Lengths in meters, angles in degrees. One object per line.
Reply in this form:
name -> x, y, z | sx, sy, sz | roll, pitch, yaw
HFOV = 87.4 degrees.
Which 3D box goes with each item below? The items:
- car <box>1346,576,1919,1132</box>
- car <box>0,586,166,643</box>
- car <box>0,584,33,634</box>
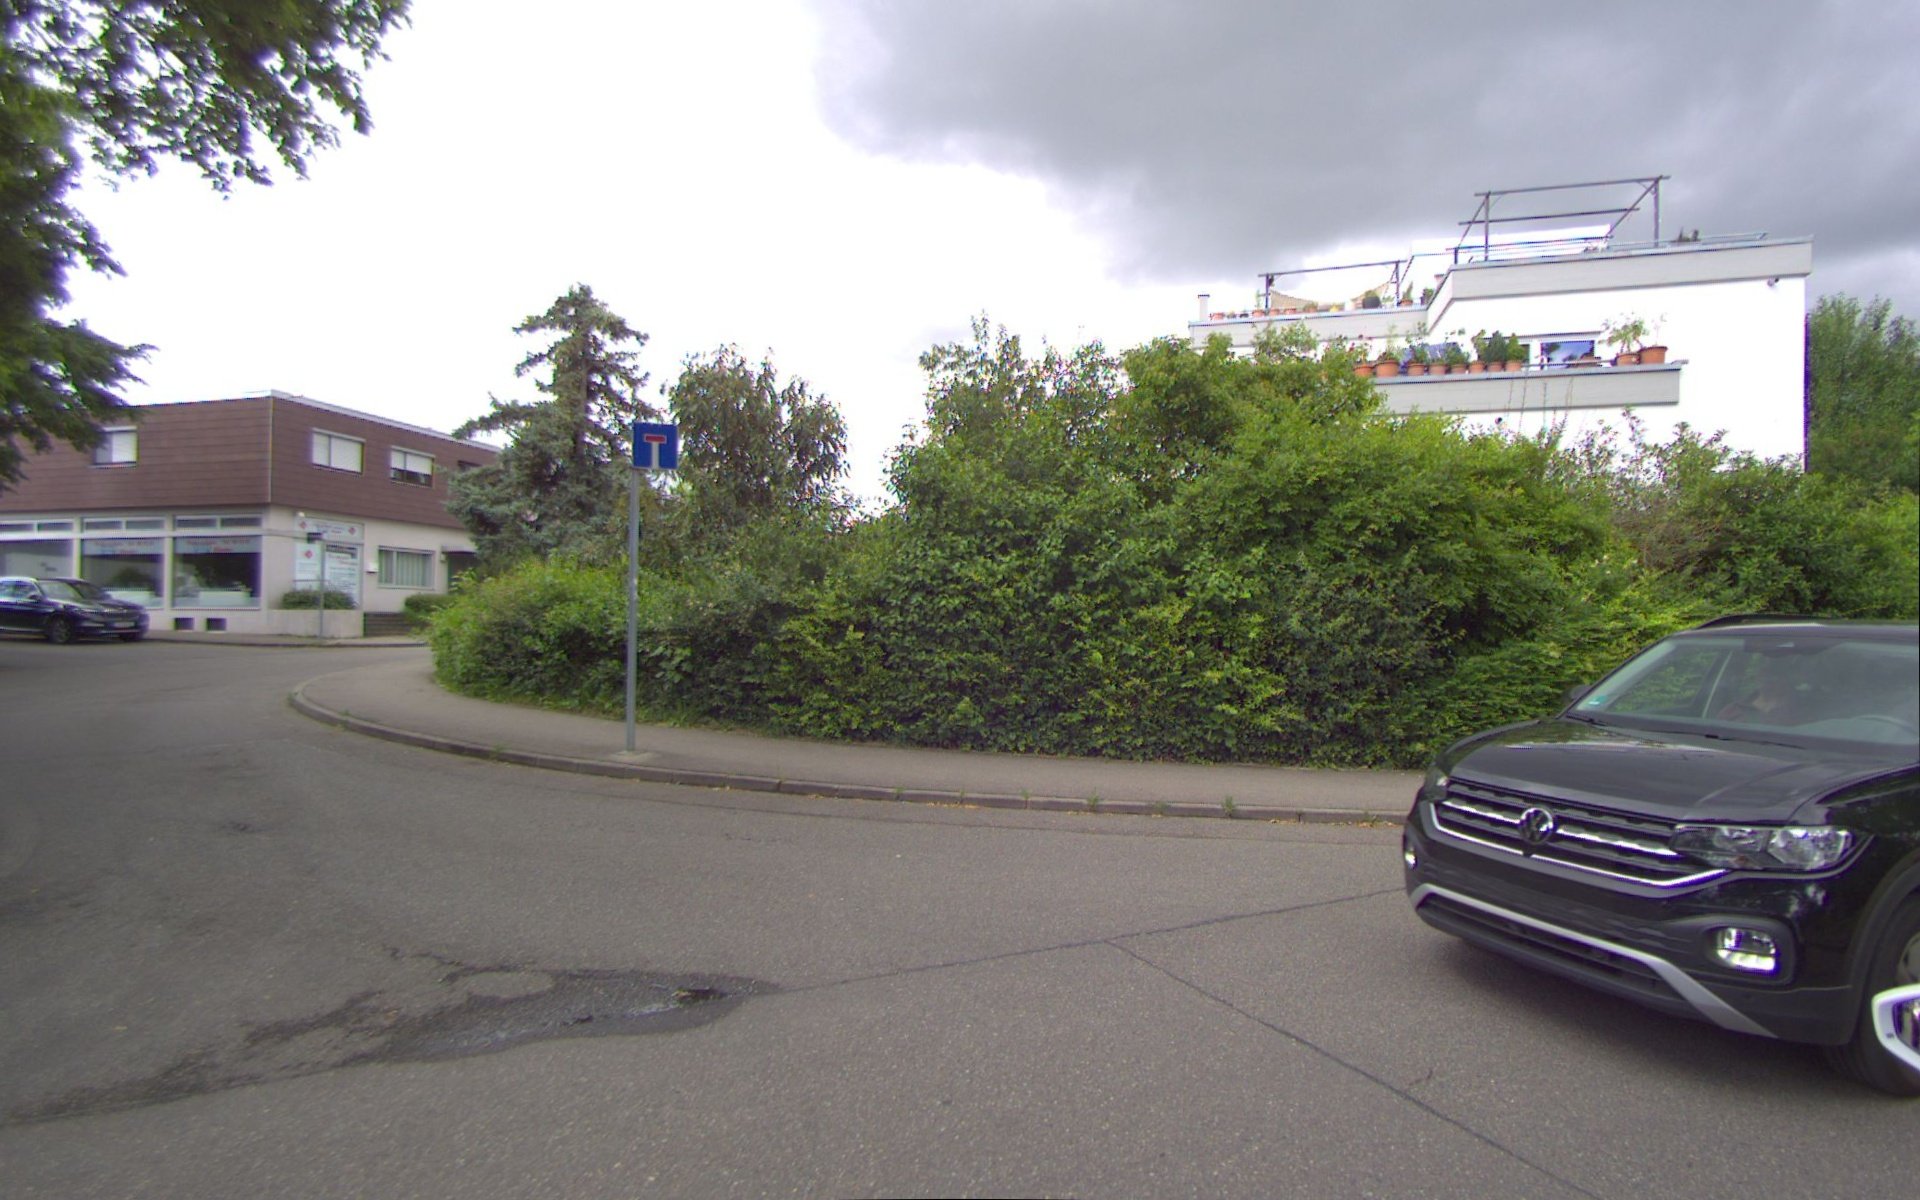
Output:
car -> 4.057, 0.785, 4.565 | 4.234, 1.612, 1.799 | 1, -1, -22
car -> -23.648, 0.352, 26.605 | 4.193, 1.394, 2.001 | 1, 1, 15
car -> -28.453, 0.227, 27.994 | 3.919, 1.394, 1.976 | 1, 1, 13
